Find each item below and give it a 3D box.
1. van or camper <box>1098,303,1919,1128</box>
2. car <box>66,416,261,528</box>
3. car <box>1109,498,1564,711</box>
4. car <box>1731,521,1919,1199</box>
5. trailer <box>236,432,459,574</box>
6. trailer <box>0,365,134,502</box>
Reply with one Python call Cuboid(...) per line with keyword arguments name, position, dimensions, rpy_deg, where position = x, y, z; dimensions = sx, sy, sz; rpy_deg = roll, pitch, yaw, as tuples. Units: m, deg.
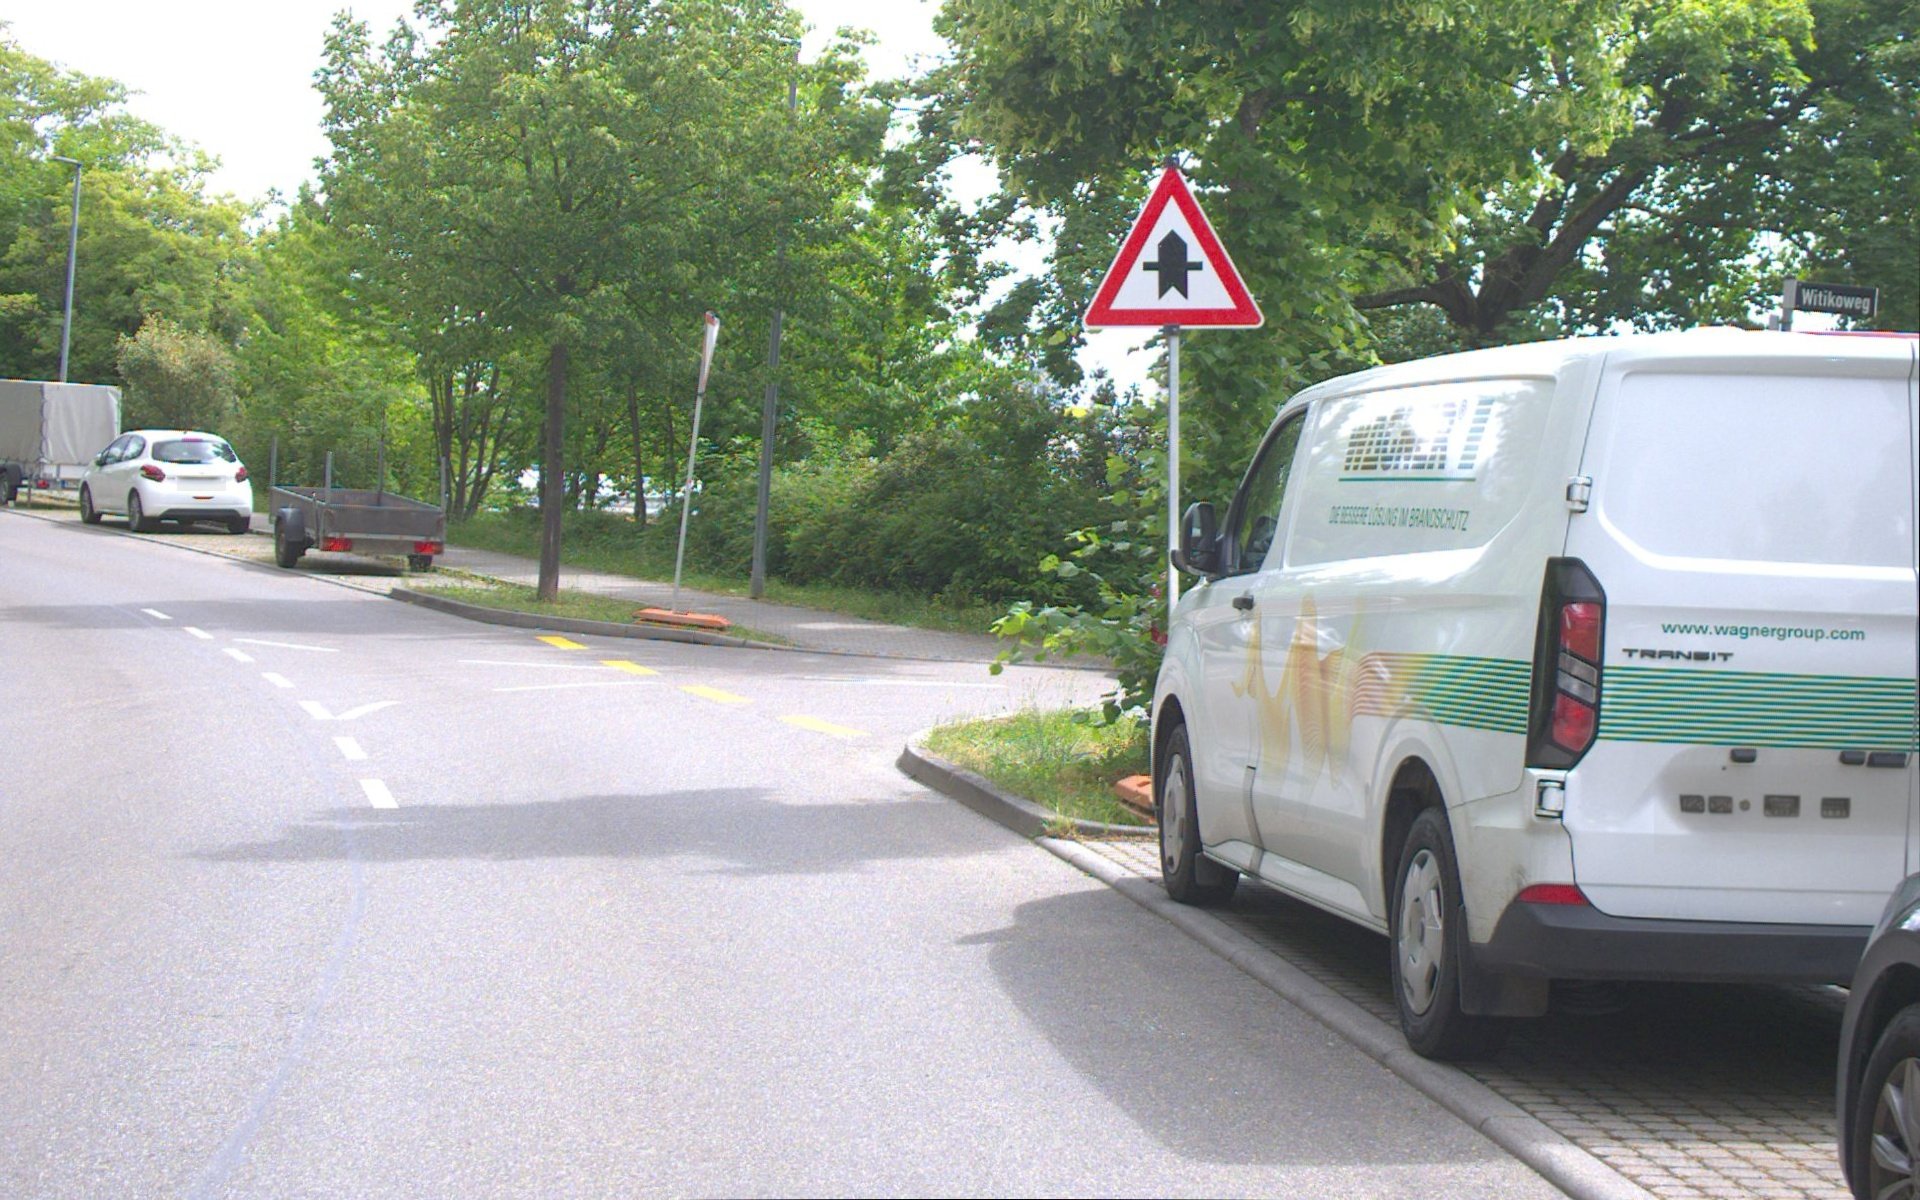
Cuboid(name="van or camper", position=(1.927, 0.205, 10.756), dimensions=(1.993, 1.913, 5.267), rpy_deg=(2, 2, -8))
Cuboid(name="car", position=(-11.907, -1.930, 51.231), dimensions=(1.769, 1.406, 4.001), rpy_deg=(1, 5, -29))
Cuboid(name="car", position=(3.206, 0.018, 29.743), dimensions=(3.535, 1.476, 1.782), rpy_deg=(4, 3, -5))
Cuboid(name="car", position=(2.618, 0.663, 4.874), dimensions=(1.797, 1.459, 4.001), rpy_deg=(3, 1, -5))
Cuboid(name="trailer", position=(-7.695, -1.238, 42.931), dimensions=(1.784, 1.520, 4.002), rpy_deg=(1, 4, -24))
Cuboid(name="trailer", position=(-15.217, -2.789, 56.742), dimensions=(1.740, 2.103, 4.000), rpy_deg=(0, 5, -34))
